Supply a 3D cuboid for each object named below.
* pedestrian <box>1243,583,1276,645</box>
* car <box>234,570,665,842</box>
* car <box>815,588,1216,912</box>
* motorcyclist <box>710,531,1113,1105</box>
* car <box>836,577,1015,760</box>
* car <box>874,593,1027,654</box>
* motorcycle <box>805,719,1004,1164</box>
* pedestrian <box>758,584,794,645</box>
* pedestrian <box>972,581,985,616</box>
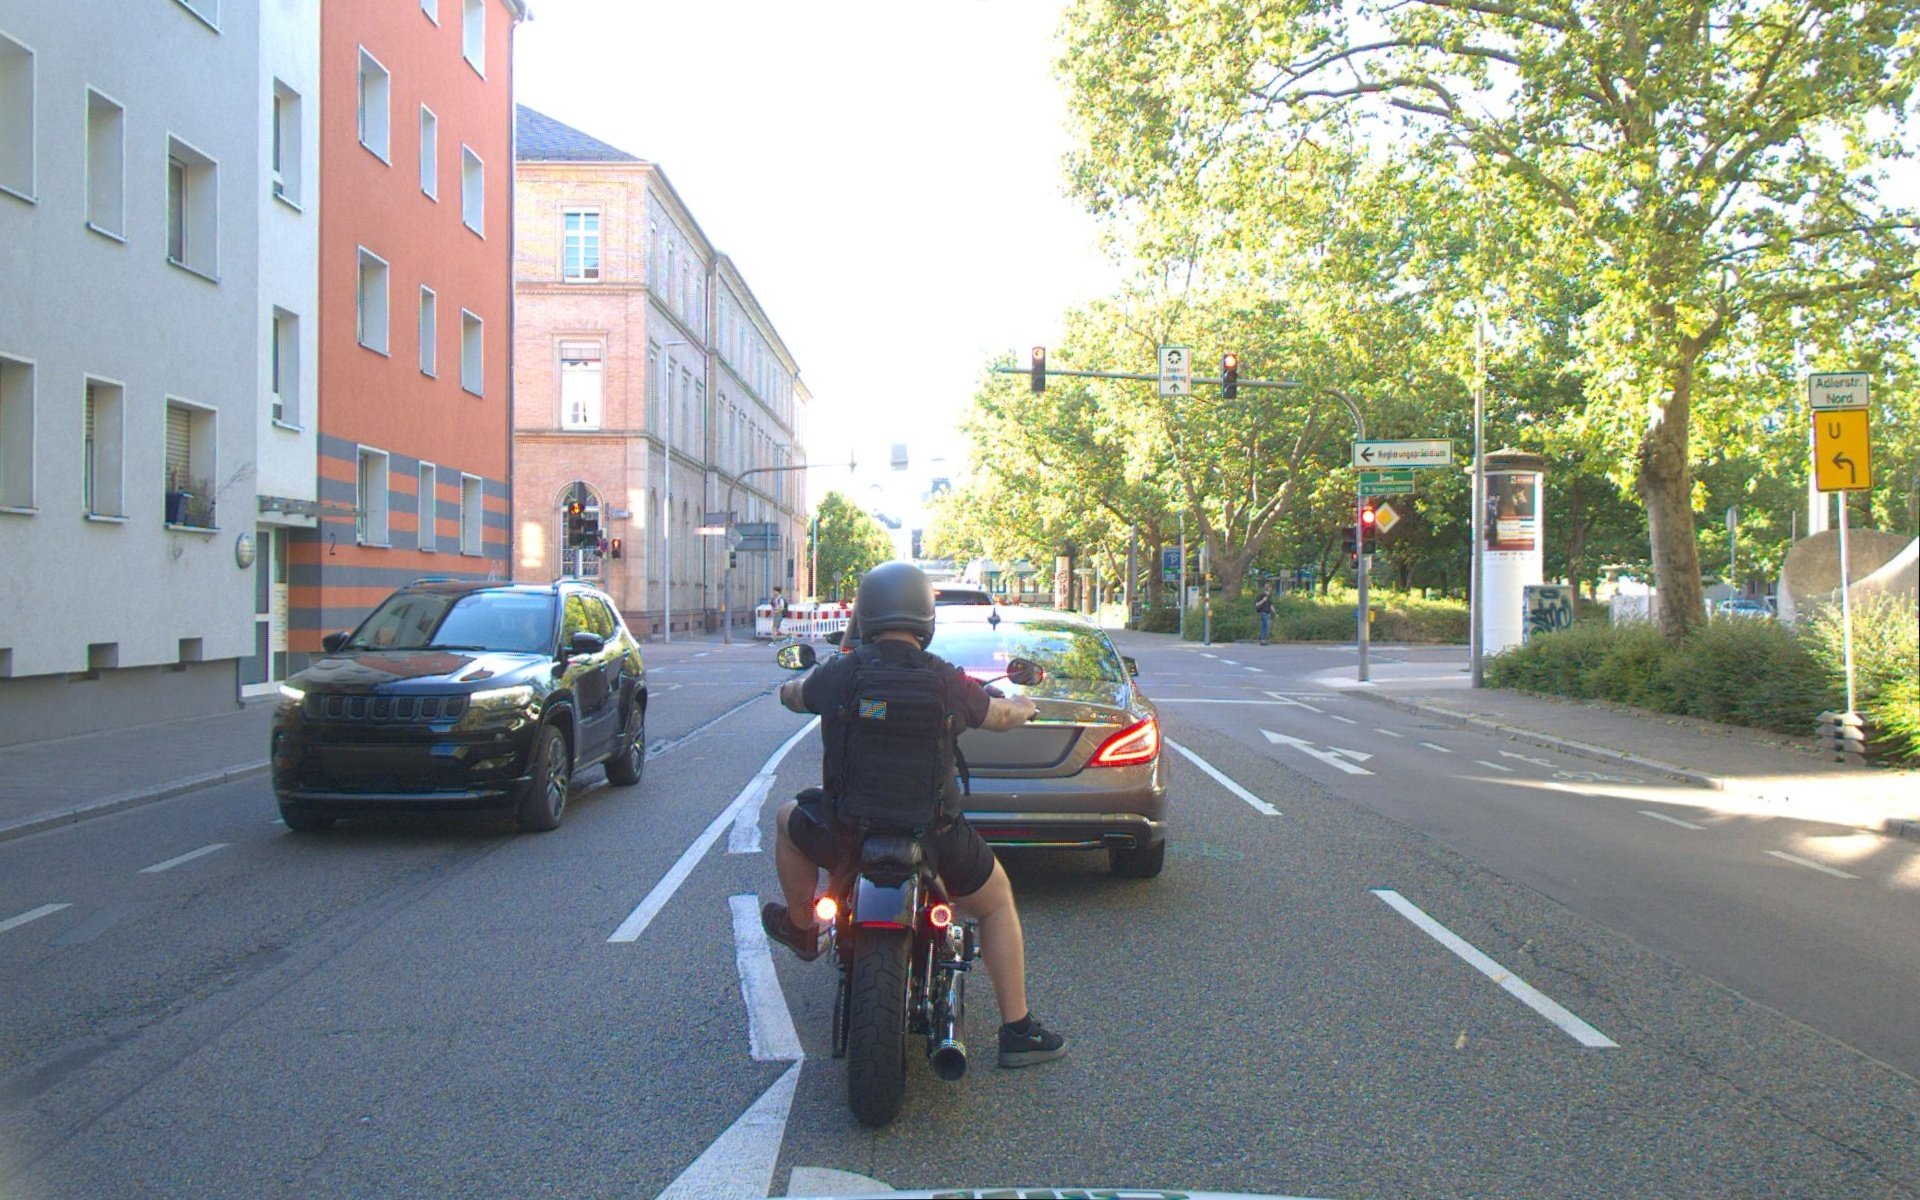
[{"bbox_3d":[9.550,0.436,52.720,0.904,1.943,0.752,1,-1,20],"label":"pedestrian"},{"bbox_3d":[-3.443,0.644,12.090,1.812,1.597,4.384,1,0,-1],"label":"car"},{"bbox_3d":[0.232,0.690,9.602,1.844,1.475,3.819,1,0,-1],"label":"car"},{"bbox_3d":[-0.147,0.627,5.378,1.125,1.626,1.288,1,0,-1],"label":"motorcyclist"},{"bbox_3d":[-0.334,0.602,16.711,1.588,1.622,3.999,0,0,-1],"label":"car"},{"bbox_3d":[-0.231,0.649,45.493,4.104,1.602,1.828,1,-1,-44],"label":"car"},{"bbox_3d":[-0.159,0.965,5.330,0.503,1.020,2.013,1,0,-1],"label":"motorcycle"},{"bbox_3d":[-5.658,0.438,50.940,0.981,1.858,1.075,1,-1,-3],"label":"pedestrian"},{"bbox_3d":[1.147,-0.085,100.935,0.748,2.087,0.712,1,-1,-1],"label":"pedestrian"}]
